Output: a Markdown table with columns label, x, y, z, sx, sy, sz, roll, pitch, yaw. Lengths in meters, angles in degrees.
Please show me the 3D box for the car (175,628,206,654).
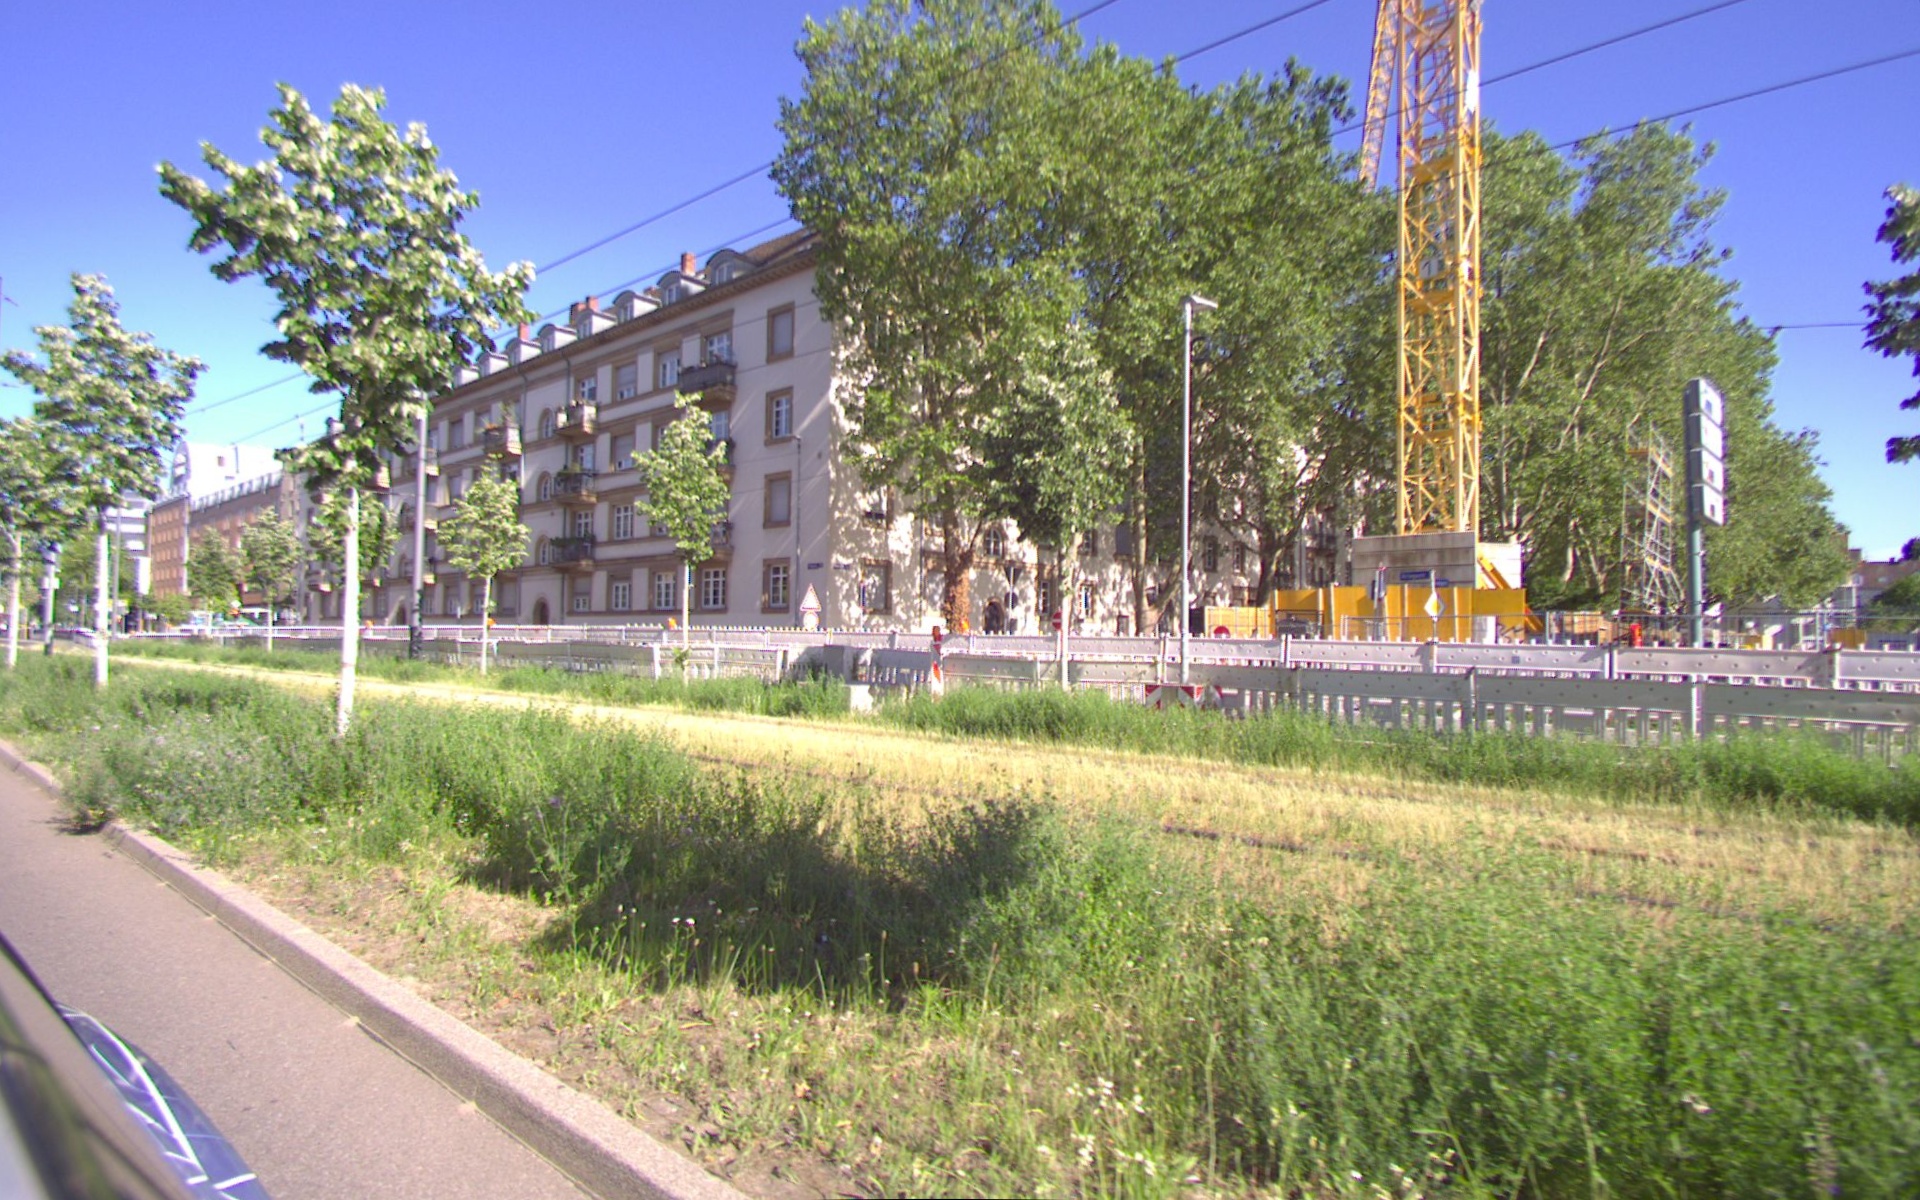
| label | x | y | z | sx | sy | sz | roll | pitch | yaw |
| --- | --- | --- | --- | --- | --- | --- | --- | --- | --- |
| car | -73.289 | 3.859 | 96.394 | 1.969 | 2.314 | 5.196 | 1 | -1 | -41 |
